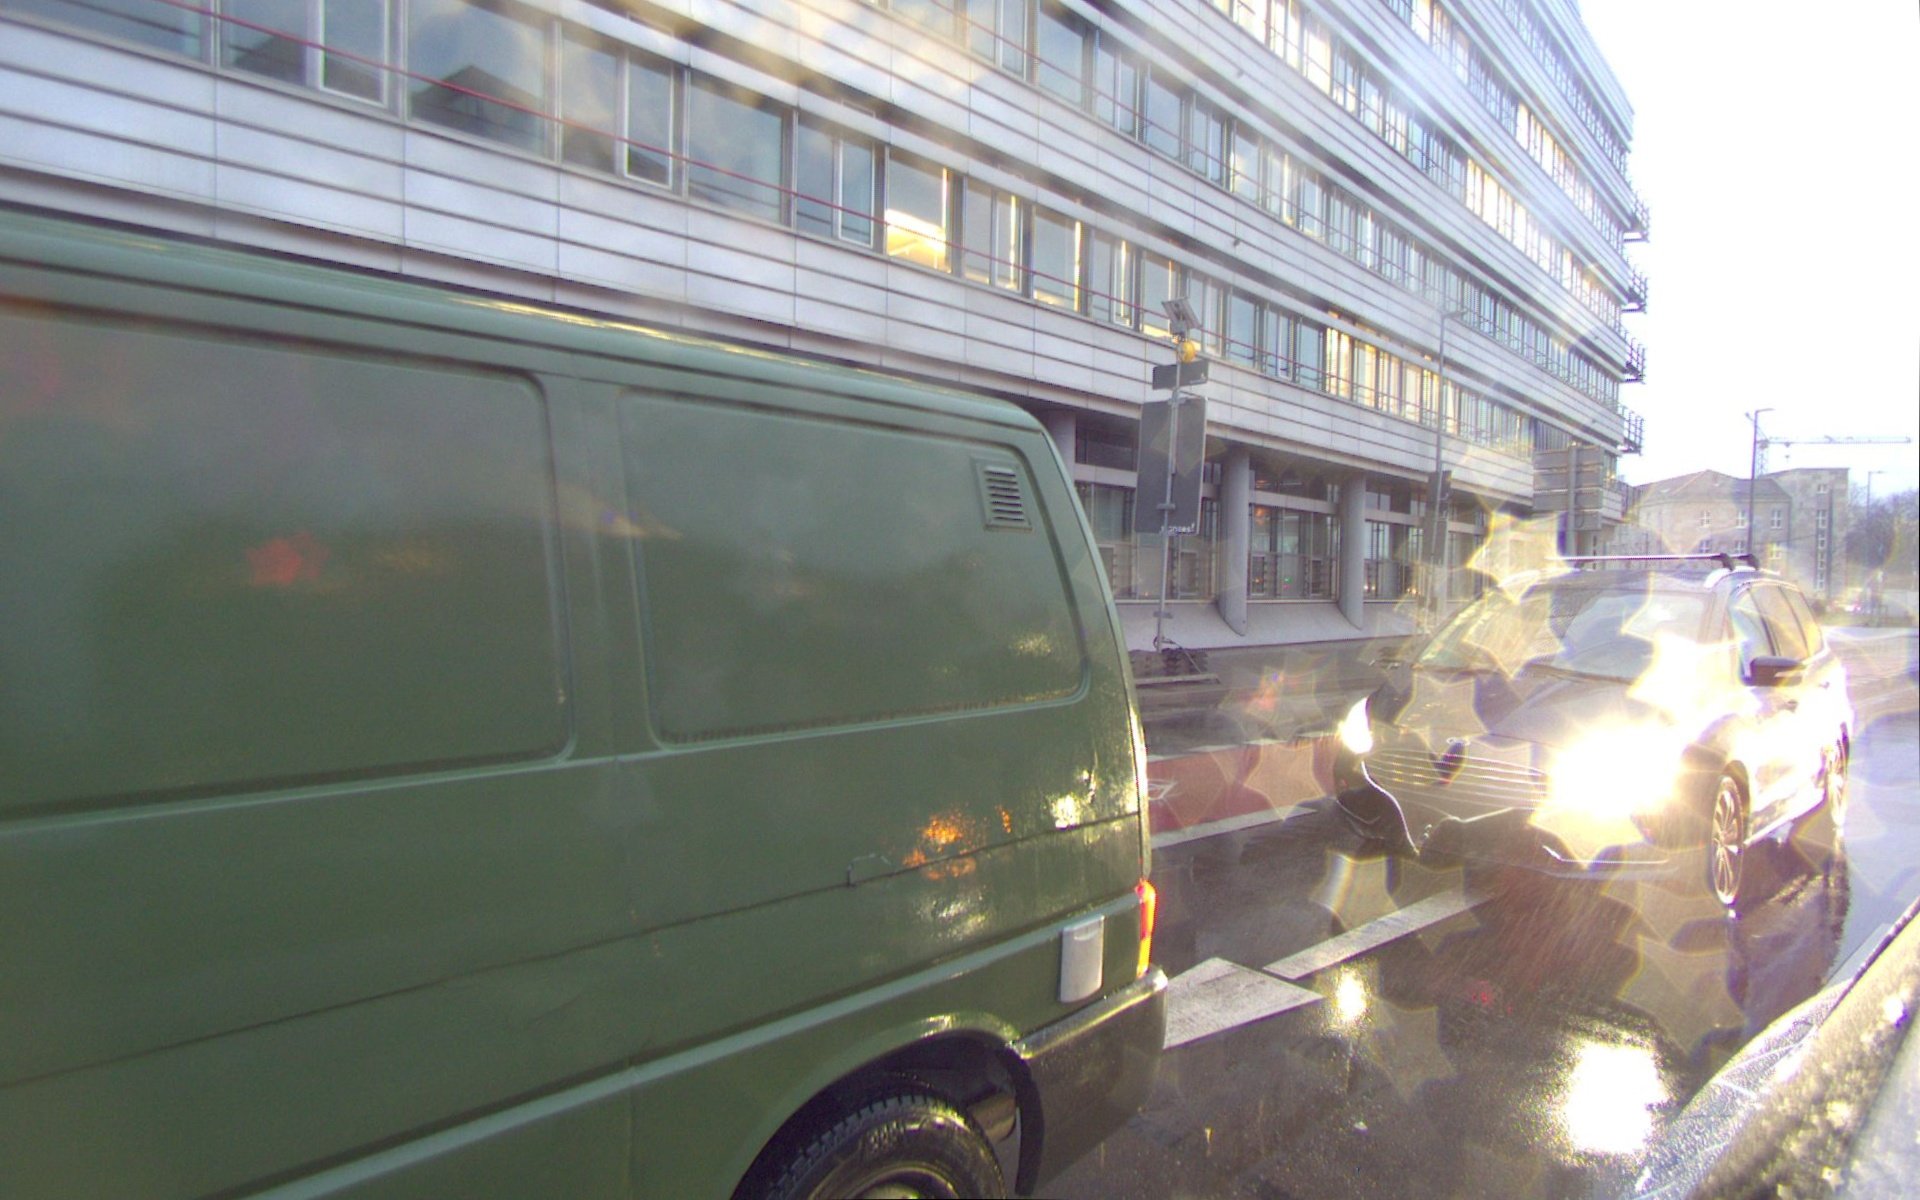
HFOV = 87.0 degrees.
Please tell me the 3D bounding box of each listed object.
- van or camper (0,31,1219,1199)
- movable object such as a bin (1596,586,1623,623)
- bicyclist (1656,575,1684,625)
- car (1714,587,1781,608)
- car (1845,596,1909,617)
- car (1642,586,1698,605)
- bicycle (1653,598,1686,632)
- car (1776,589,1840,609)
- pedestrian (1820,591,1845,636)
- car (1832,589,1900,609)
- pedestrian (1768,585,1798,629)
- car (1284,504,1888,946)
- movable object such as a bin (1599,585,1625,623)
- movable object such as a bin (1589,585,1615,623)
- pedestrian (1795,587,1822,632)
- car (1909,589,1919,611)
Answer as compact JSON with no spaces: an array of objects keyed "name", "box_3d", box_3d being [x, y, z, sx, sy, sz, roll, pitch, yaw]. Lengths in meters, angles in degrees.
[{"name":"van or camper","box_3d":[-1.677,0.464,1.312,4.341,1.931,1.760,0,0,-41]},{"name":"movable object such as a bin","box_3d":[25.501,0.166,39.732,0.826,1.446,0.665,0,1,-44]},{"name":"bicyclist","box_3d":[26.174,-0.006,37.289,0.793,1.820,0.670,0,2,-45]},{"name":"car","box_3d":[71.075,-0.229,91.410,1.958,1.782,4.386,0,1,-24]},{"name":"car","box_3d":[85.304,0.599,94.162,1.774,1.791,4.009,1,1,-21]},{"name":"car","box_3d":[68.623,-0.475,97.845,1.958,1.693,4.013,0,1,-24]},{"name":"bicycle","box_3d":[26.178,0.531,37.314,0.679,1.214,1.733,-2,-1,45]},{"name":"car","box_3d":[72.891,-0.123,87.036,1.743,1.556,3.775,1,2,-24]},{"name":"pedestrian","box_3d":[34.406,0.523,39.910,0.870,1.689,0.615,0,3,-44]},{"name":"car","box_3d":[74.301,-0.111,83.060,1.743,1.556,3.775,1,2,-24]},{"name":"pedestrian","box_3d":[33.813,0.277,41.601,0.953,1.722,0.746,0,4,-44]},{"name":"car","box_3d":[4.174,0.509,6.398,4.587,1.834,1.887,0,0,-39]},{"name":"movable object such as a bin","box_3d":[26.075,0.164,40.467,0.826,1.495,0.665,0,1,-44]},{"name":"movable object such as a bin","box_3d":[24.841,0.151,39.148,0.826,1.446,0.665,0,1,-44]},{"name":"pedestrian","box_3d":[33.888,0.369,40.404,0.870,1.723,0.650,0,3,-44]},{"name":"car","box_3d":[76.598,0.072,78.570,1.743,1.730,3.932,0,1,-26]}]
